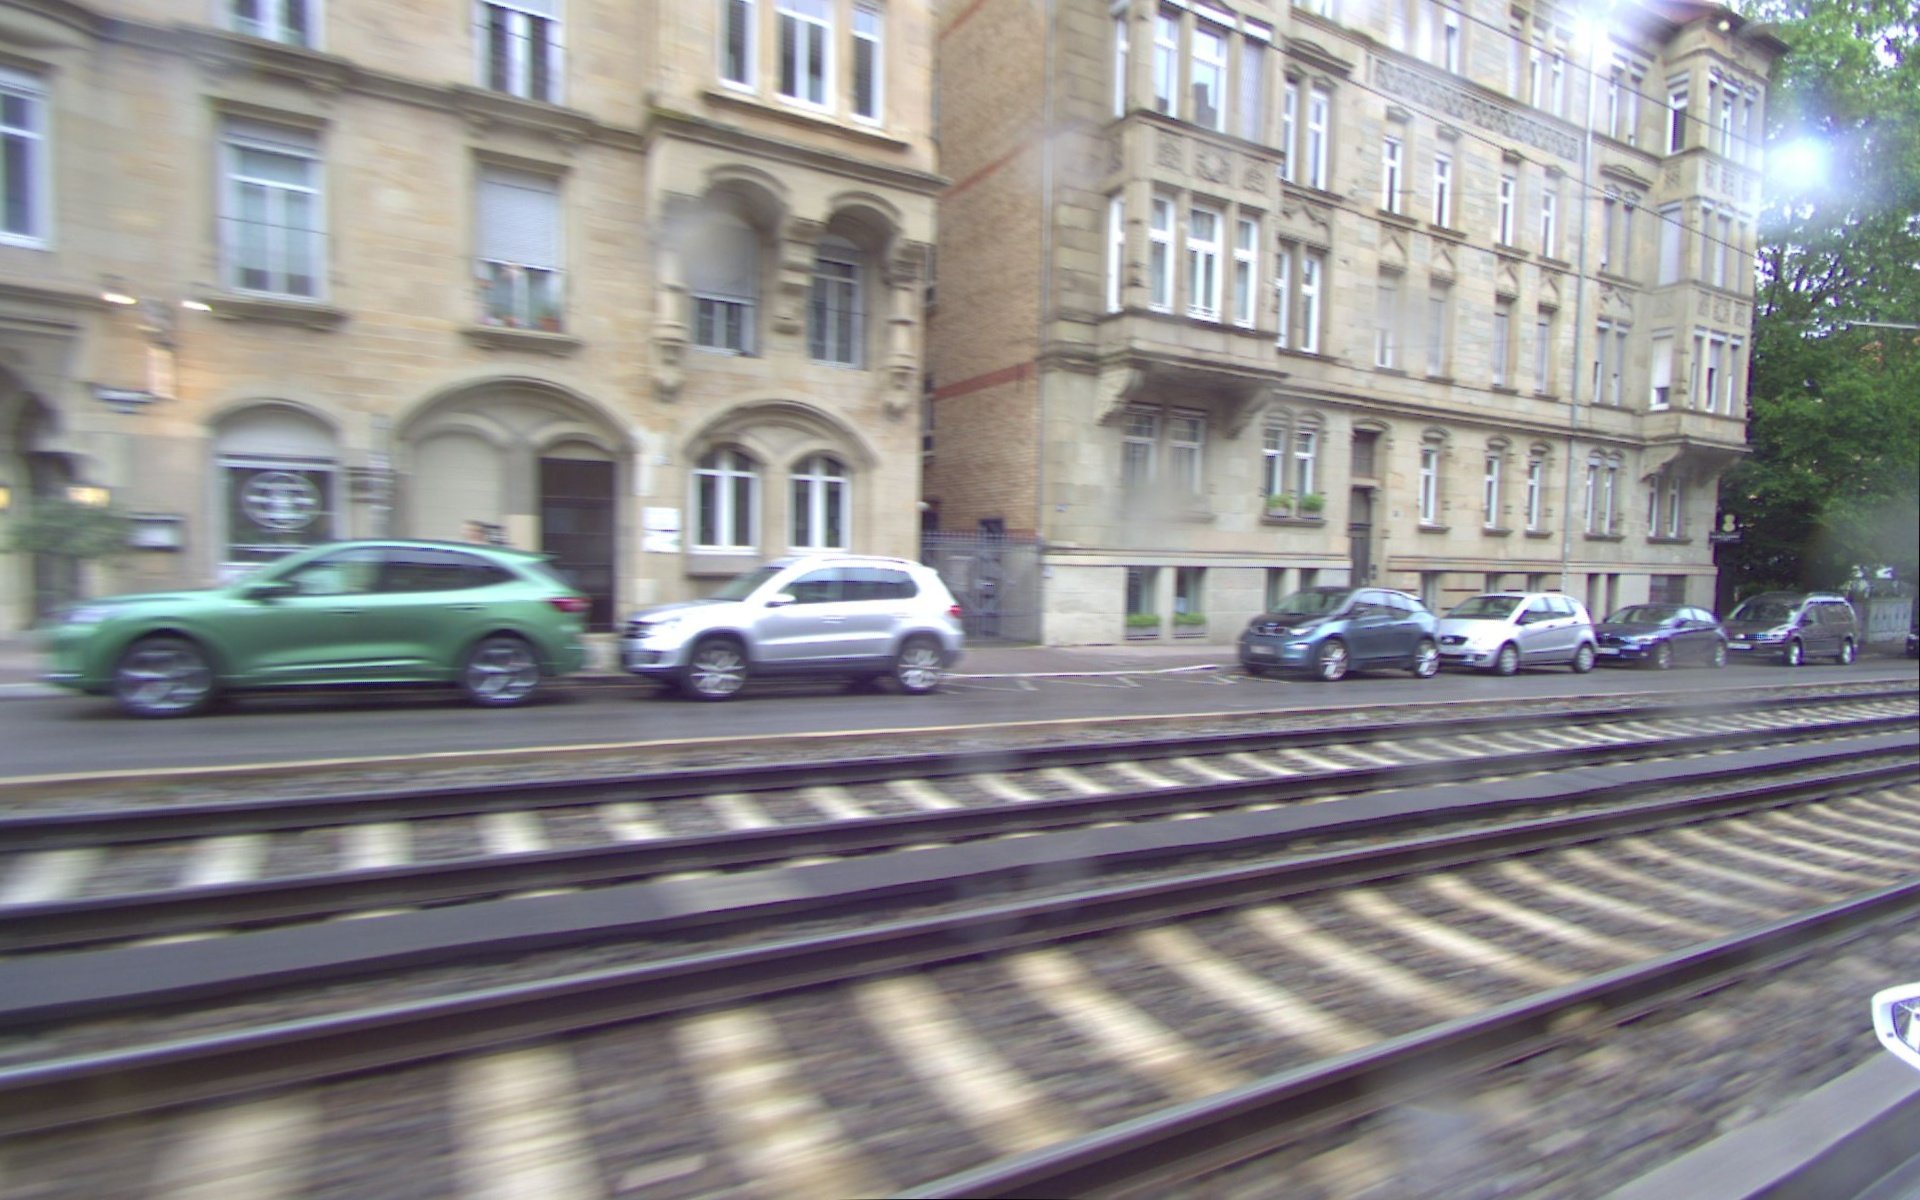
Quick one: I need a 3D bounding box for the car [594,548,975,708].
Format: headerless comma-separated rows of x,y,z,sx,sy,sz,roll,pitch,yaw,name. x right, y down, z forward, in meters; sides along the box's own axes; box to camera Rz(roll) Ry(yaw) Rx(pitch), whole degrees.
-2.113,0.313,12.434,4.266,1.674,1.849,1,1,-31,car

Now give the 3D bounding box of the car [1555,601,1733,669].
15.570,0.765,22.818,4.221,1.417,1.753,1,0,-31,car

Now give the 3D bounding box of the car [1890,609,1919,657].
31.982,1.062,32.354,4.499,1.483,1.839,1,-1,-32,car

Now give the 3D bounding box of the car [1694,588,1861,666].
21.245,0.673,26.058,4.761,1.871,1.792,1,0,-30,car

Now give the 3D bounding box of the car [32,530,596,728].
-6.101,0.261,10.099,4.374,1.623,1.851,1,1,-28,car

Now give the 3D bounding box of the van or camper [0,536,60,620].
-22.097,-0.484,22.640,1.920,1.799,3.933,1,0,-31,van or camper

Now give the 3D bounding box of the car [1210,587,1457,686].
6.565,0.603,17.576,4.120,1.528,1.861,1,1,-30,car

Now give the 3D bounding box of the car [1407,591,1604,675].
10.877,0.626,20.002,3.808,1.544,1.687,1,0,-30,car
